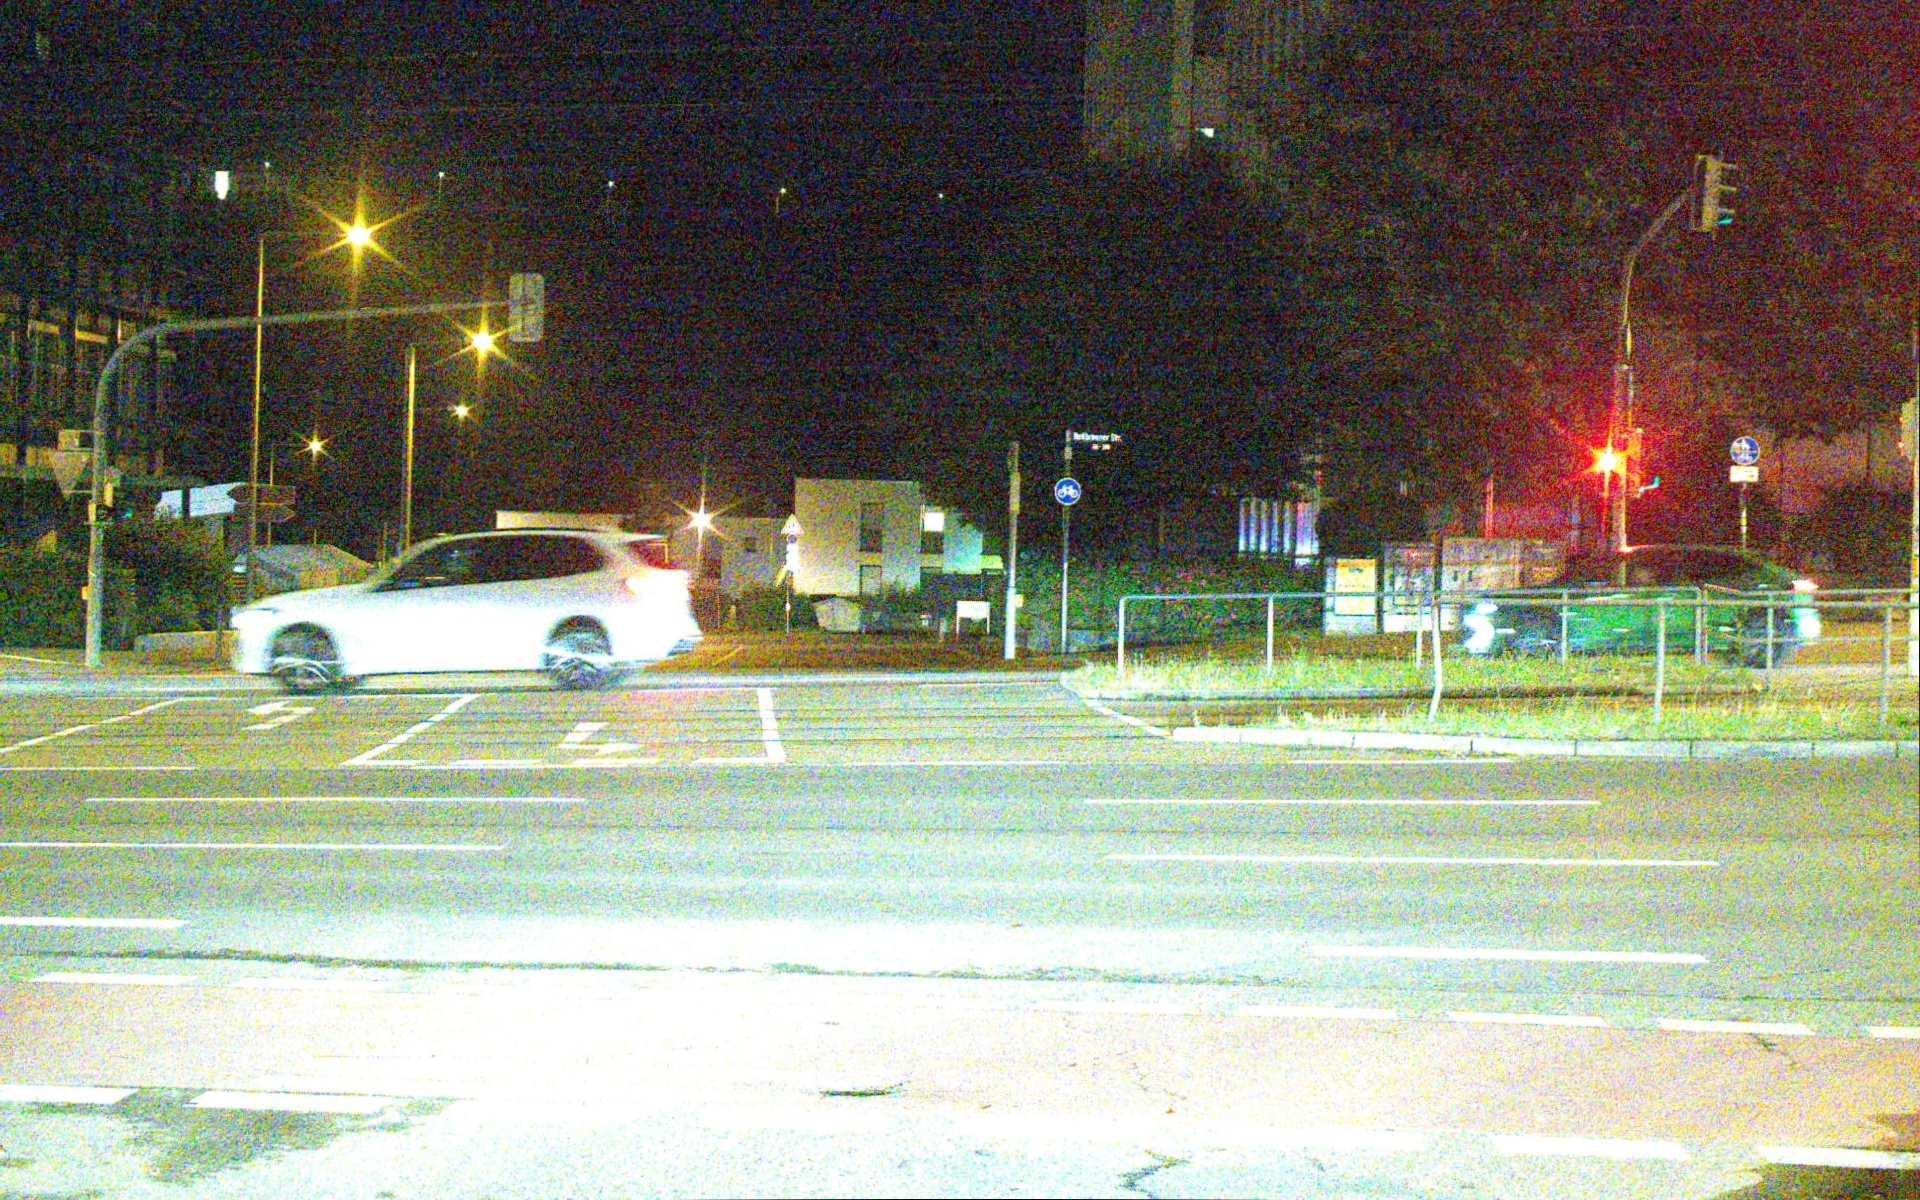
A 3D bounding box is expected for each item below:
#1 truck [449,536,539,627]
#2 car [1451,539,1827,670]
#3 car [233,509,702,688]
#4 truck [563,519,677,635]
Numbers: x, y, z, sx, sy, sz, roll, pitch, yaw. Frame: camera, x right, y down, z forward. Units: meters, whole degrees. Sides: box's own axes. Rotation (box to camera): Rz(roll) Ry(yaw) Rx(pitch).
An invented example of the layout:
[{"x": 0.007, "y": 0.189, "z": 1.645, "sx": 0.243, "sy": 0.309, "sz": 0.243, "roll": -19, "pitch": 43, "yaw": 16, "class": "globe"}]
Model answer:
[{"x": -16.531, "y": -0.643, "z": 121.791, "sx": 2.417, "sy": 3.078, "sz": 6.439, "roll": 1, "pitch": 0, "yaw": -14, "class": "truck"}, {"x": 7.831, "y": 0.037, "z": 39.960, "sx": 4.061, "sy": 1.419, "sz": 1.843, "roll": 0, "pitch": 3, "yaw": 3, "class": "car"}, {"x": -5.322, "y": -0.012, "z": 37.539, "sx": 4.780, "sy": 1.838, "sz": 1.843, "roll": -1, "pitch": 0, "yaw": 3, "class": "car"}, {"x": -14.781, "y": -0.995, "z": 148.849, "sx": 3.359, "sy": 4.826, "sz": 7.908, "roll": 1, "pitch": 0, "yaw": -17, "class": "truck"}]
